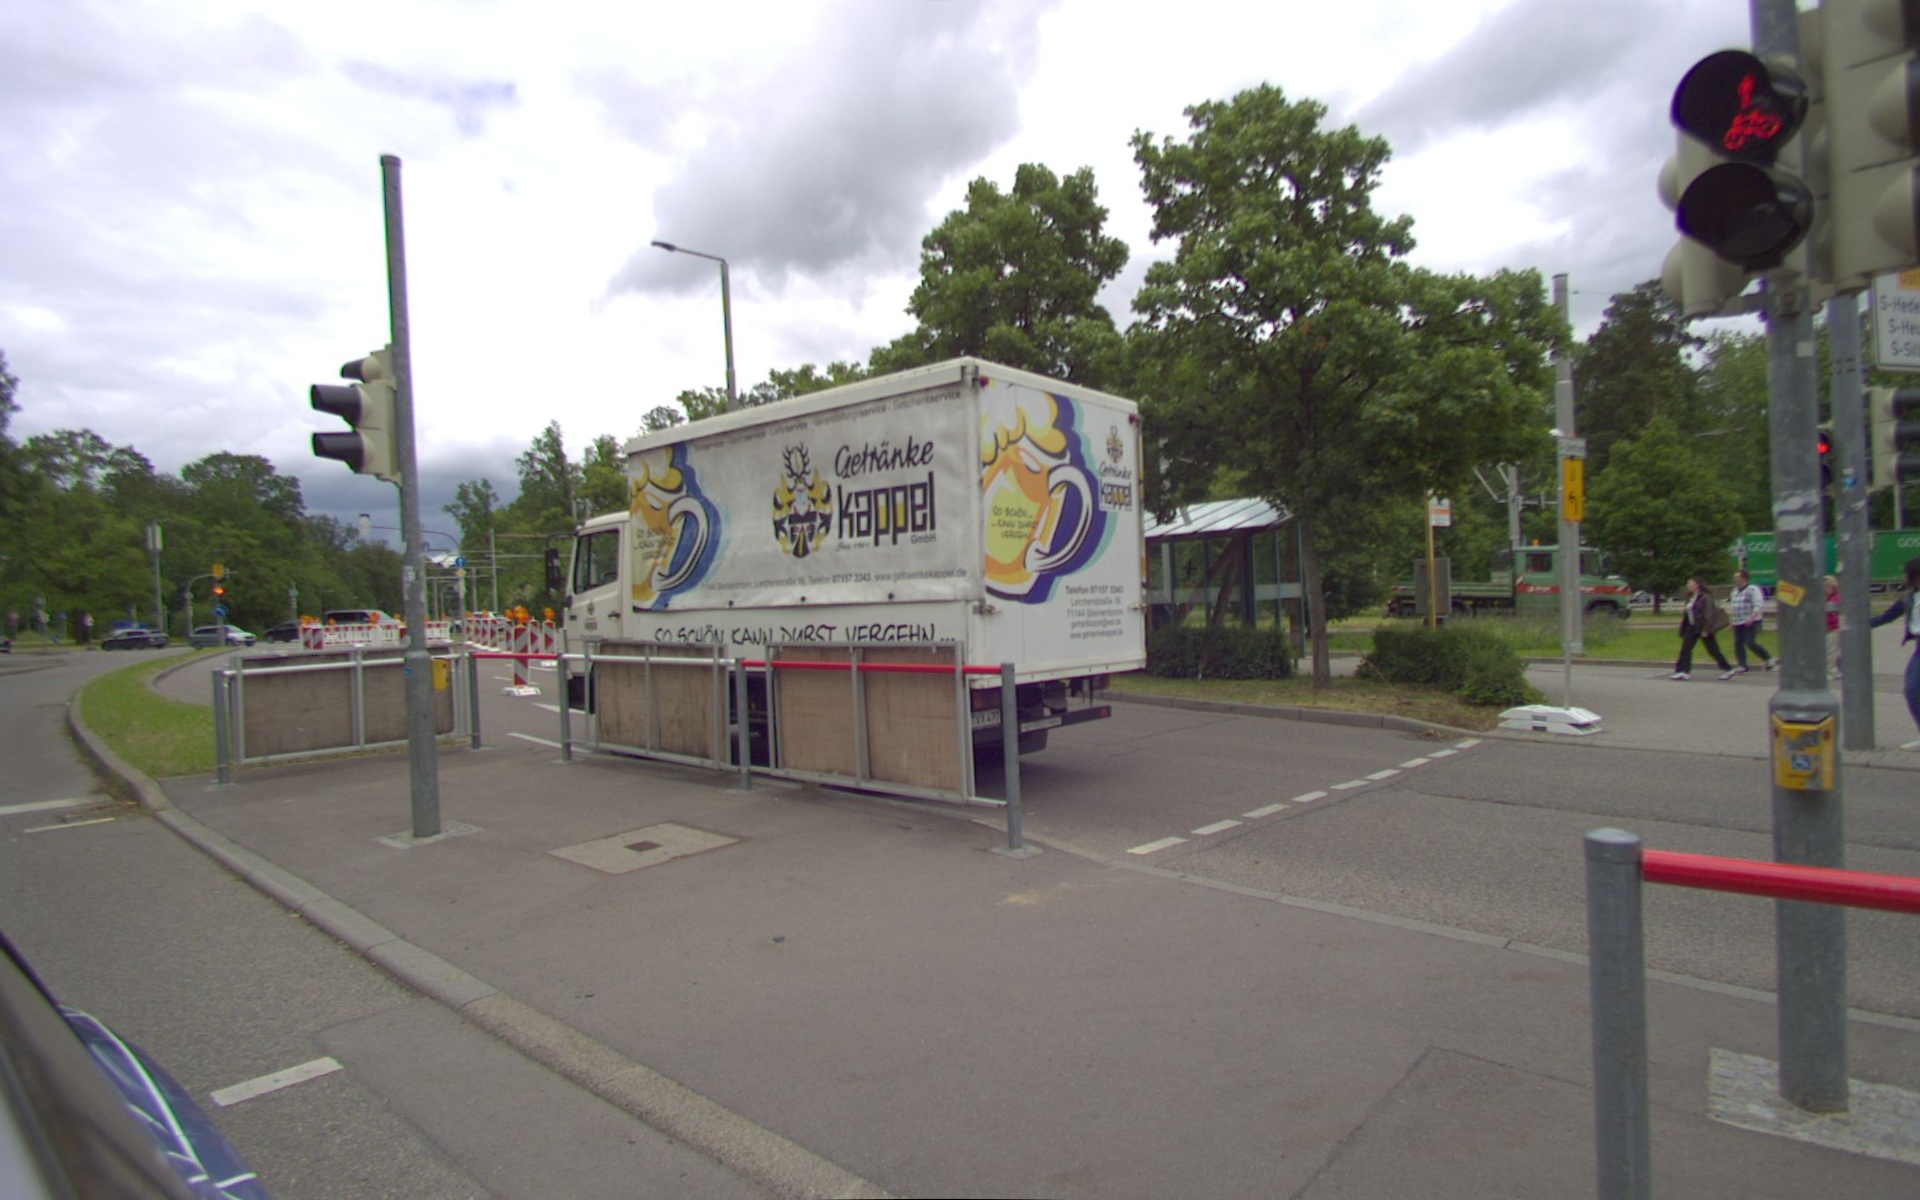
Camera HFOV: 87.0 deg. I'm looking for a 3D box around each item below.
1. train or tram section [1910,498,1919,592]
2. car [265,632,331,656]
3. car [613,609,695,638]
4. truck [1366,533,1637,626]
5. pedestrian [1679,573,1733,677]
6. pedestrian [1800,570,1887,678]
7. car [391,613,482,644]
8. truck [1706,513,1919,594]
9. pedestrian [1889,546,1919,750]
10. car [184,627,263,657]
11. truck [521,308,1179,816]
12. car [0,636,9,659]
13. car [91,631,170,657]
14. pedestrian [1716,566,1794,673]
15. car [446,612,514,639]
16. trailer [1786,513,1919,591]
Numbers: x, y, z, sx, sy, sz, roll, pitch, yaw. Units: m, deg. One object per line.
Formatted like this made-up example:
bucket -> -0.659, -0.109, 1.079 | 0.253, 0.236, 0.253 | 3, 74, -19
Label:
train or tram section -> 55.976, -3.121, 47.486 | 18.438, 4.567, 3.583 | -3, 1, 3
car -> -48.061, 3.167, 73.518 | 3.799, 1.346, 1.659 | -3, 5, 10
car -> -18.546, 1.417, 61.408 | 4.339, 1.447, 1.793 | -3, 1, 8
truck -> 15.044, -0.542, 28.649 | 6.247, 2.186, 2.594 | -3, 1, 17
pedestrian -> 11.641, 0.379, 15.807 | 0.627, 1.557, 0.768 | -1, 2, 34
pedestrian -> 13.507, 0.354, 15.476 | 0.763, 1.563, 0.794 | -3, 1, -35
car -> -33.095, 1.793, 64.043 | 4.850, 1.599, 1.954 | -3, 1, 6
truck -> 47.182, -2.508, 55.902 | 8.669, 3.910, 3.780 | -3, 1, 8
pedestrian -> 8.530, 0.387, 8.320 | 0.896, 1.689, 1.097 | -1, 0, -32
car -> -47.743, 2.692, 65.662 | 3.938, 1.652, 1.893 | -3, 1, 10
truck -> -1.375, -0.186, 9.509 | 6.202, 3.263, 2.602 | -1, -1, 40
car -> -77.110, 3.858, 79.012 | 4.426, 1.740, 1.993 | -3, 1, 12
car -> -61.829, 3.260, 75.483 | 4.392, 1.607, 1.879 | -3, 1, 3
pedestrian -> 13.035, 0.305, 16.602 | 0.856, 1.678, 0.687 | -3, 1, -30
car -> -34.212, 1.831, 72.173 | 4.001, 1.664, 1.854 | -3, 1, 9
trailer -> 52.801, -2.794, 55.075 | 11.730, 3.910, 3.779 | -3, 1, 8
